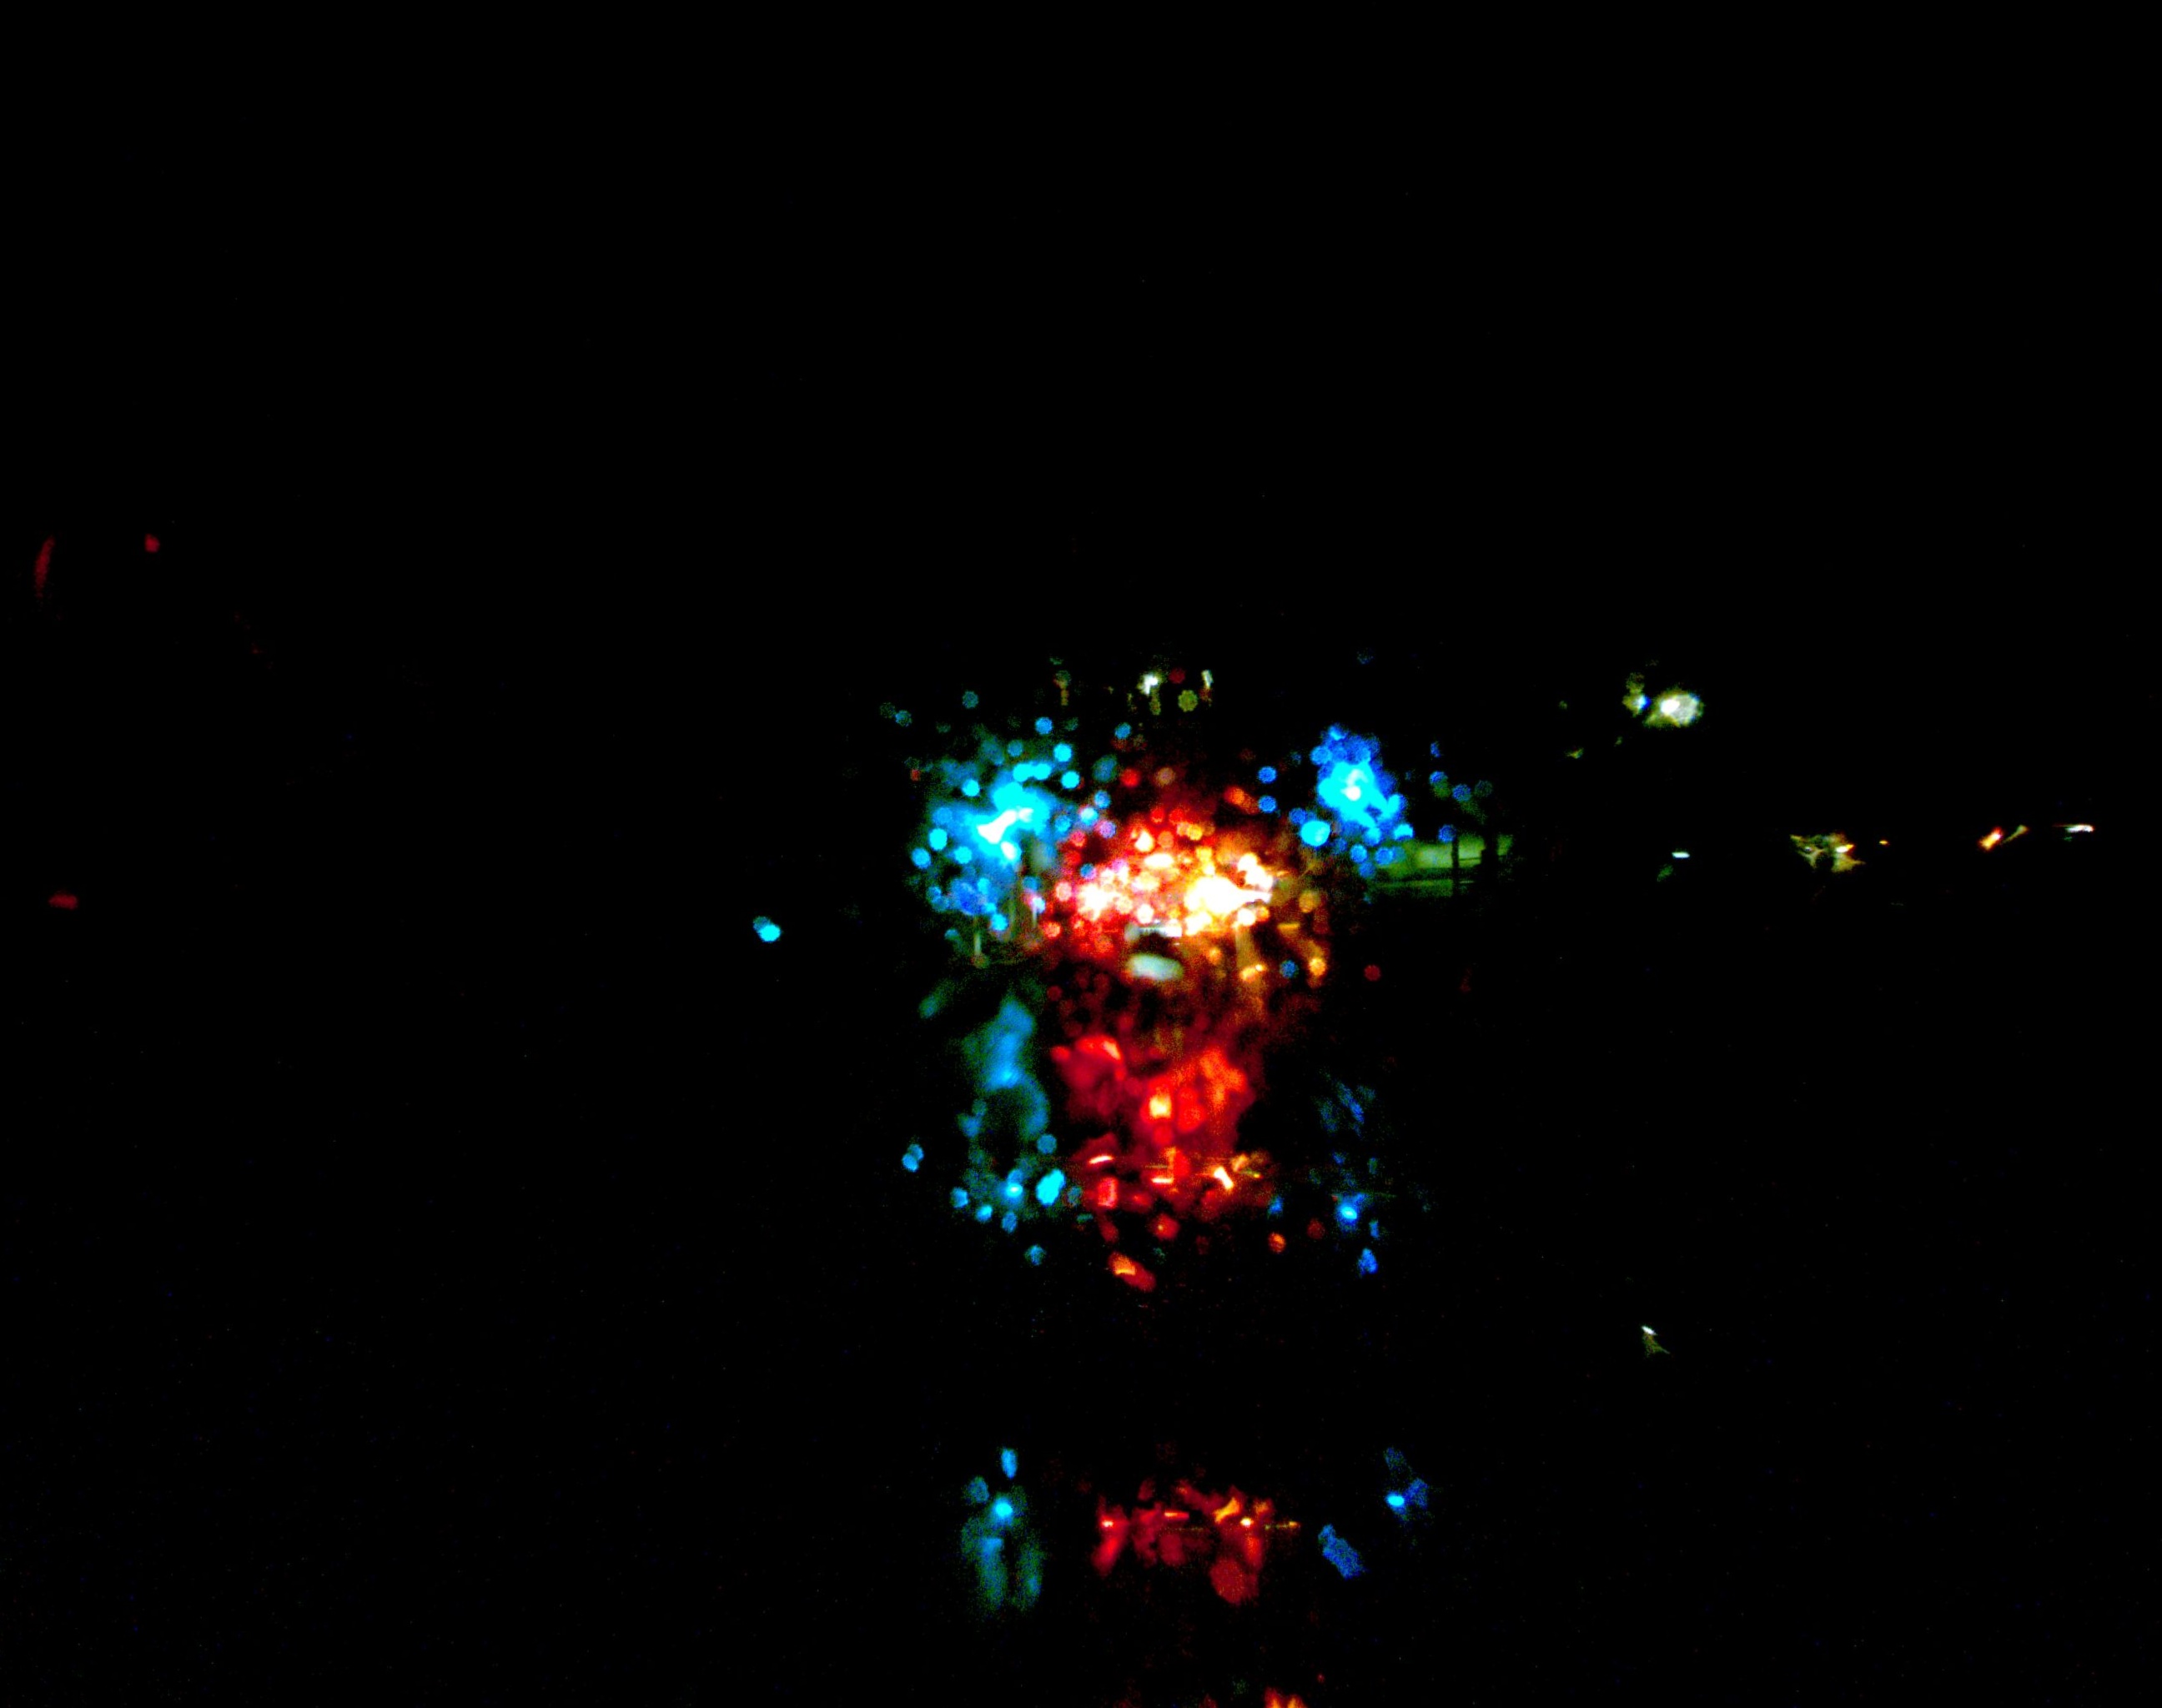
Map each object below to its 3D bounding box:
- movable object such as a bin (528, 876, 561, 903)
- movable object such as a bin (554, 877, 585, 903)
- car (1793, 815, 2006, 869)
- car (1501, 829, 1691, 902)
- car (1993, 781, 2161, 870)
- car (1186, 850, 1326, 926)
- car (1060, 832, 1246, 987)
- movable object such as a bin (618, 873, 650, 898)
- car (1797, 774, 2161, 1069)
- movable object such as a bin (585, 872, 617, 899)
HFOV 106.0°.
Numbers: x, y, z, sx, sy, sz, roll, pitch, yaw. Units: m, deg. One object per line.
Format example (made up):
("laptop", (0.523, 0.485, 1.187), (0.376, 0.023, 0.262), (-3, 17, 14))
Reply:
("movable object such as a bin", (-28.668, 1.890, 43.522), (1.325, 1.309, 1.166), (-1, 1, -27))
("movable object such as a bin", (-27.389, 1.906, 43.645), (1.235, 1.325, 1.144), (-1, 0, -25))
("car", (24.452, -0.344, 24.499), (4.166, 1.517, 1.986), (1, -1, 10))
("car", (14.460, 0.301, 23.070), (4.219, 1.947, 1.780), (-1, 1, 6))
("car", (30.365, -0.781, 23.670), (4.813, 2.442, 2.181), (1, -1, 11))
("car", (4.352, 0.761, 19.715), (1.891, 1.510, 4.268), (-3, 0, 32))
("car", (1.030, 0.635, 11.172), (2.047, 1.678, 4.146), (1, 0, 6))
("movable object such as a bin", (-24.584, 1.744, 44.849), (1.318, 1.299, 1.242), (2, -5, -20))
("car", (7.654, 0.253, 5.042), (4.439, 1.586, 1.945), (-3, 0, 10))
("movable object such as a bin", (-26.078, 1.709, 44.274), (1.394, 1.413, 1.240), (0, -1, -26))
